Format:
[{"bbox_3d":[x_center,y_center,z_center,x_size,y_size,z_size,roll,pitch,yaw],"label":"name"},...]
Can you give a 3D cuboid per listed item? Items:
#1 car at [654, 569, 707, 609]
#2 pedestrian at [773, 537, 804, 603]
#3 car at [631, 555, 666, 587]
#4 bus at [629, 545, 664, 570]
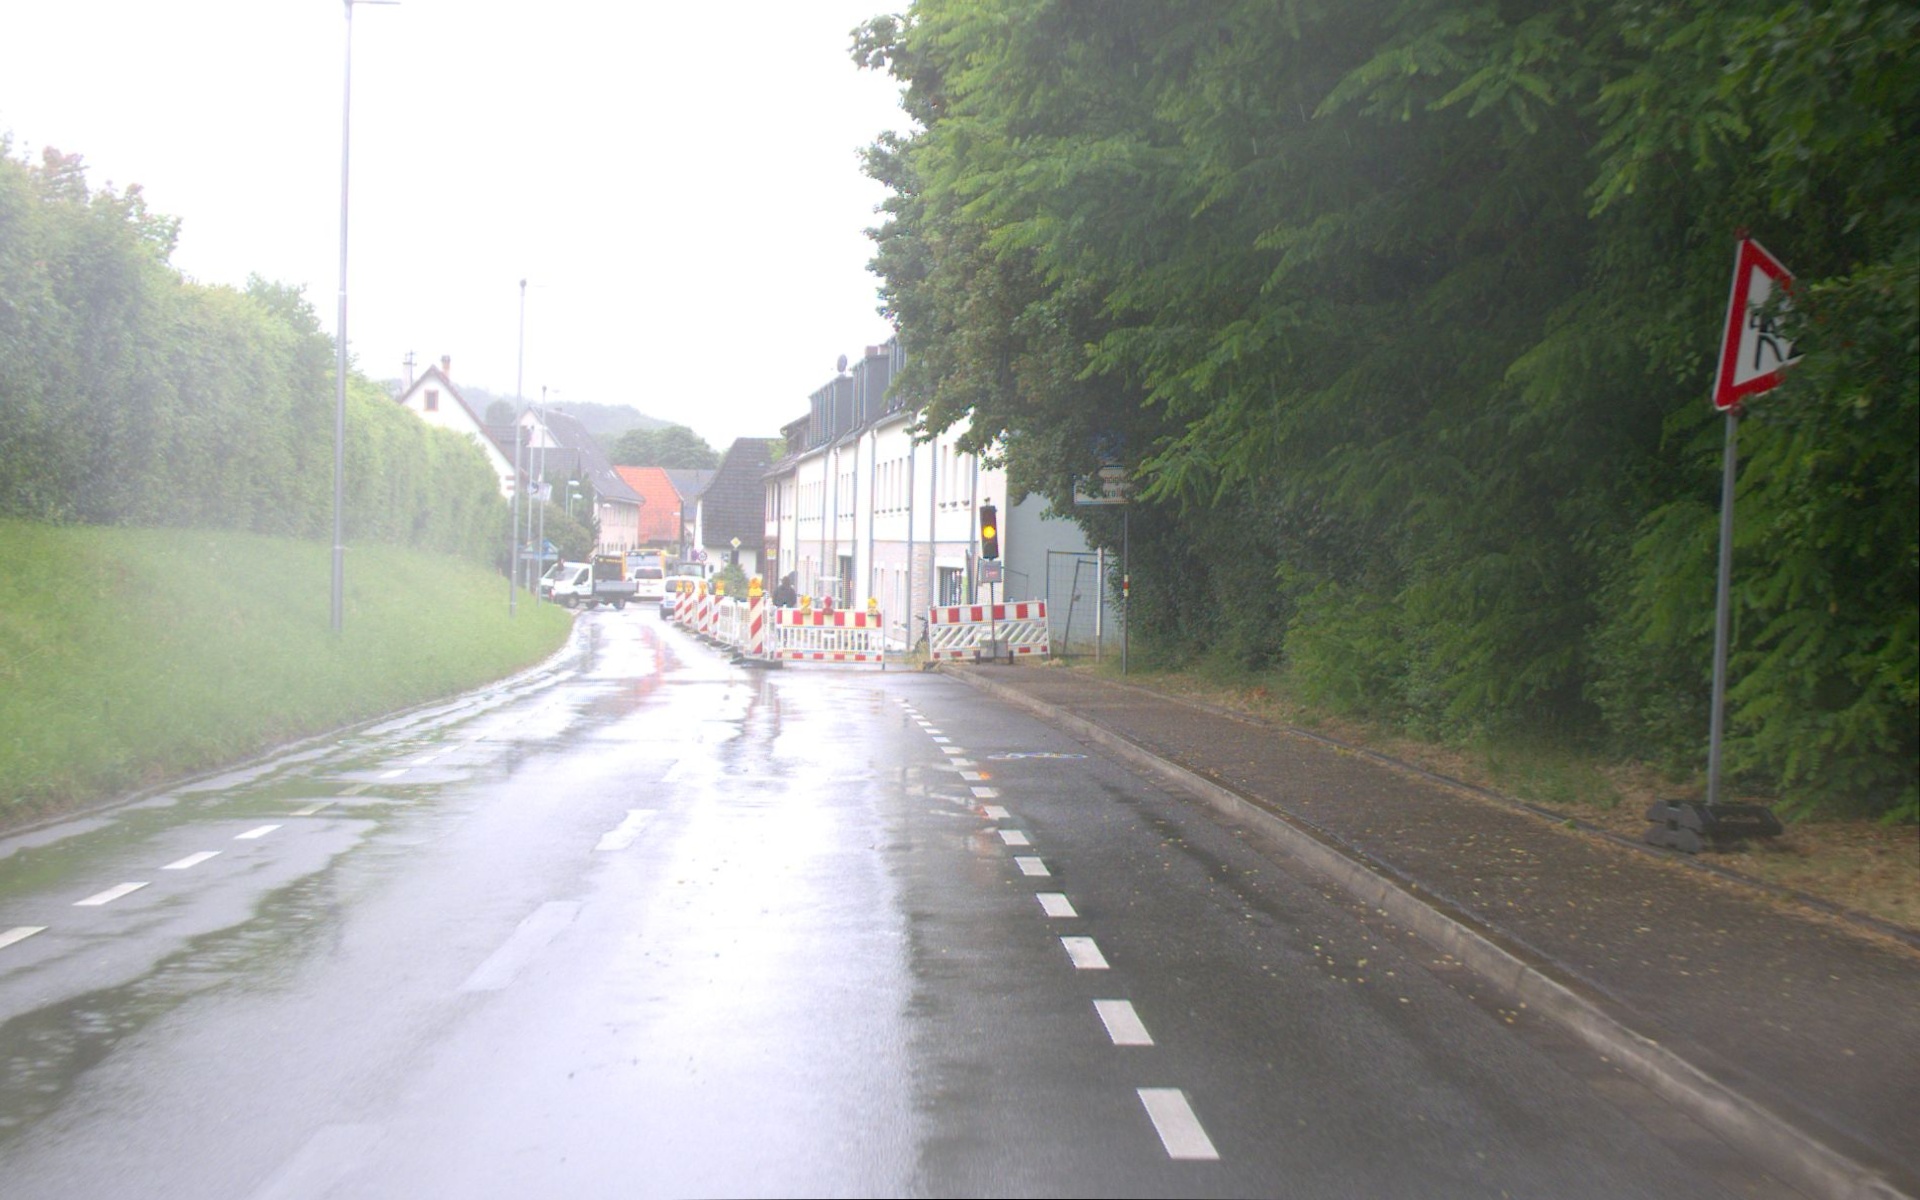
[{"bbox_3d":[-11.947,-0.479,147.002,1.993,1.605,4.000,2,1,-2],"label":"car"},{"bbox_3d":[-4.621,-0.815,92.442,0.665,1.749,0.812,2,1,-11],"label":"pedestrian"},{"bbox_3d":[-17.095,-1.589,188.544,1.818,1.636,4.096,2,1,-6],"label":"car"},{"bbox_3d":[-18.781,-2.568,206.116,1.794,1.405,4.000,2,1,-1],"label":"bus"}]
